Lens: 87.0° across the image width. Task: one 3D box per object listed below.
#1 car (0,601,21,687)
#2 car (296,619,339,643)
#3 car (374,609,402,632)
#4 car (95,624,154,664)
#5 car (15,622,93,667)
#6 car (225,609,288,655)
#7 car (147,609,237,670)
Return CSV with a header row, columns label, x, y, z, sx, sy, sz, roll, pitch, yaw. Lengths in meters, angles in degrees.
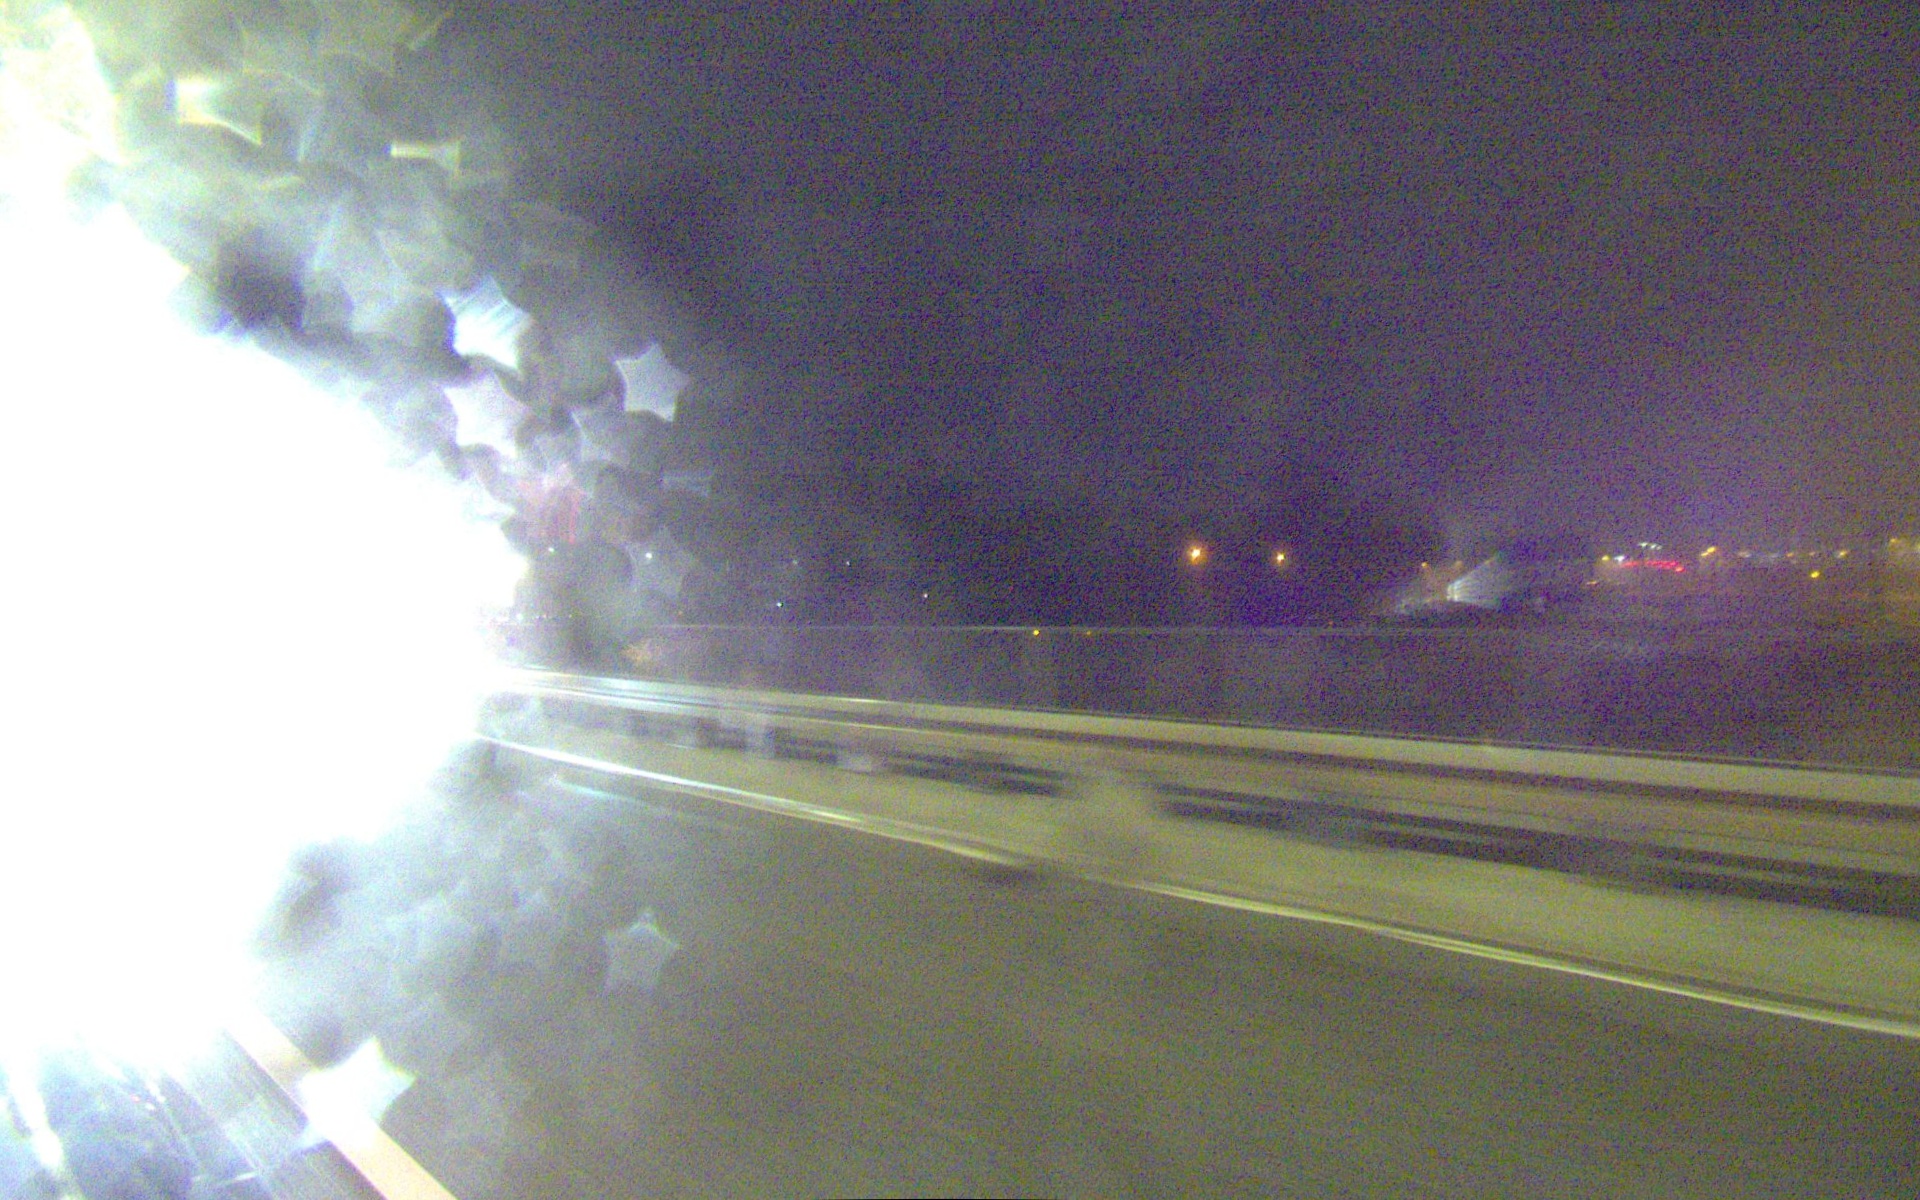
label,x,y,z,sx,sy,sz,roll,pitch,yaw
car,-24.611,1.070,24.850,1.968,2.029,4.007,0,-1,-39
car,-38.789,1.865,61.168,1.789,1.415,4.061,1,-2,-28
car,-51.672,1.826,91.464,1.521,2.029,4.013,0,-1,-20
car,-38.207,2.002,46.355,1.284,1.540,3.056,-8,3,-27
car,-32.935,1.600,36.865,1.497,1.537,3.116,0,-2,-30
car,-30.549,1.403,44.047,1.729,1.875,4.013,2,-2,-28
car,-24.006,1.187,31.781,1.995,1.732,4.994,1,-1,-35
